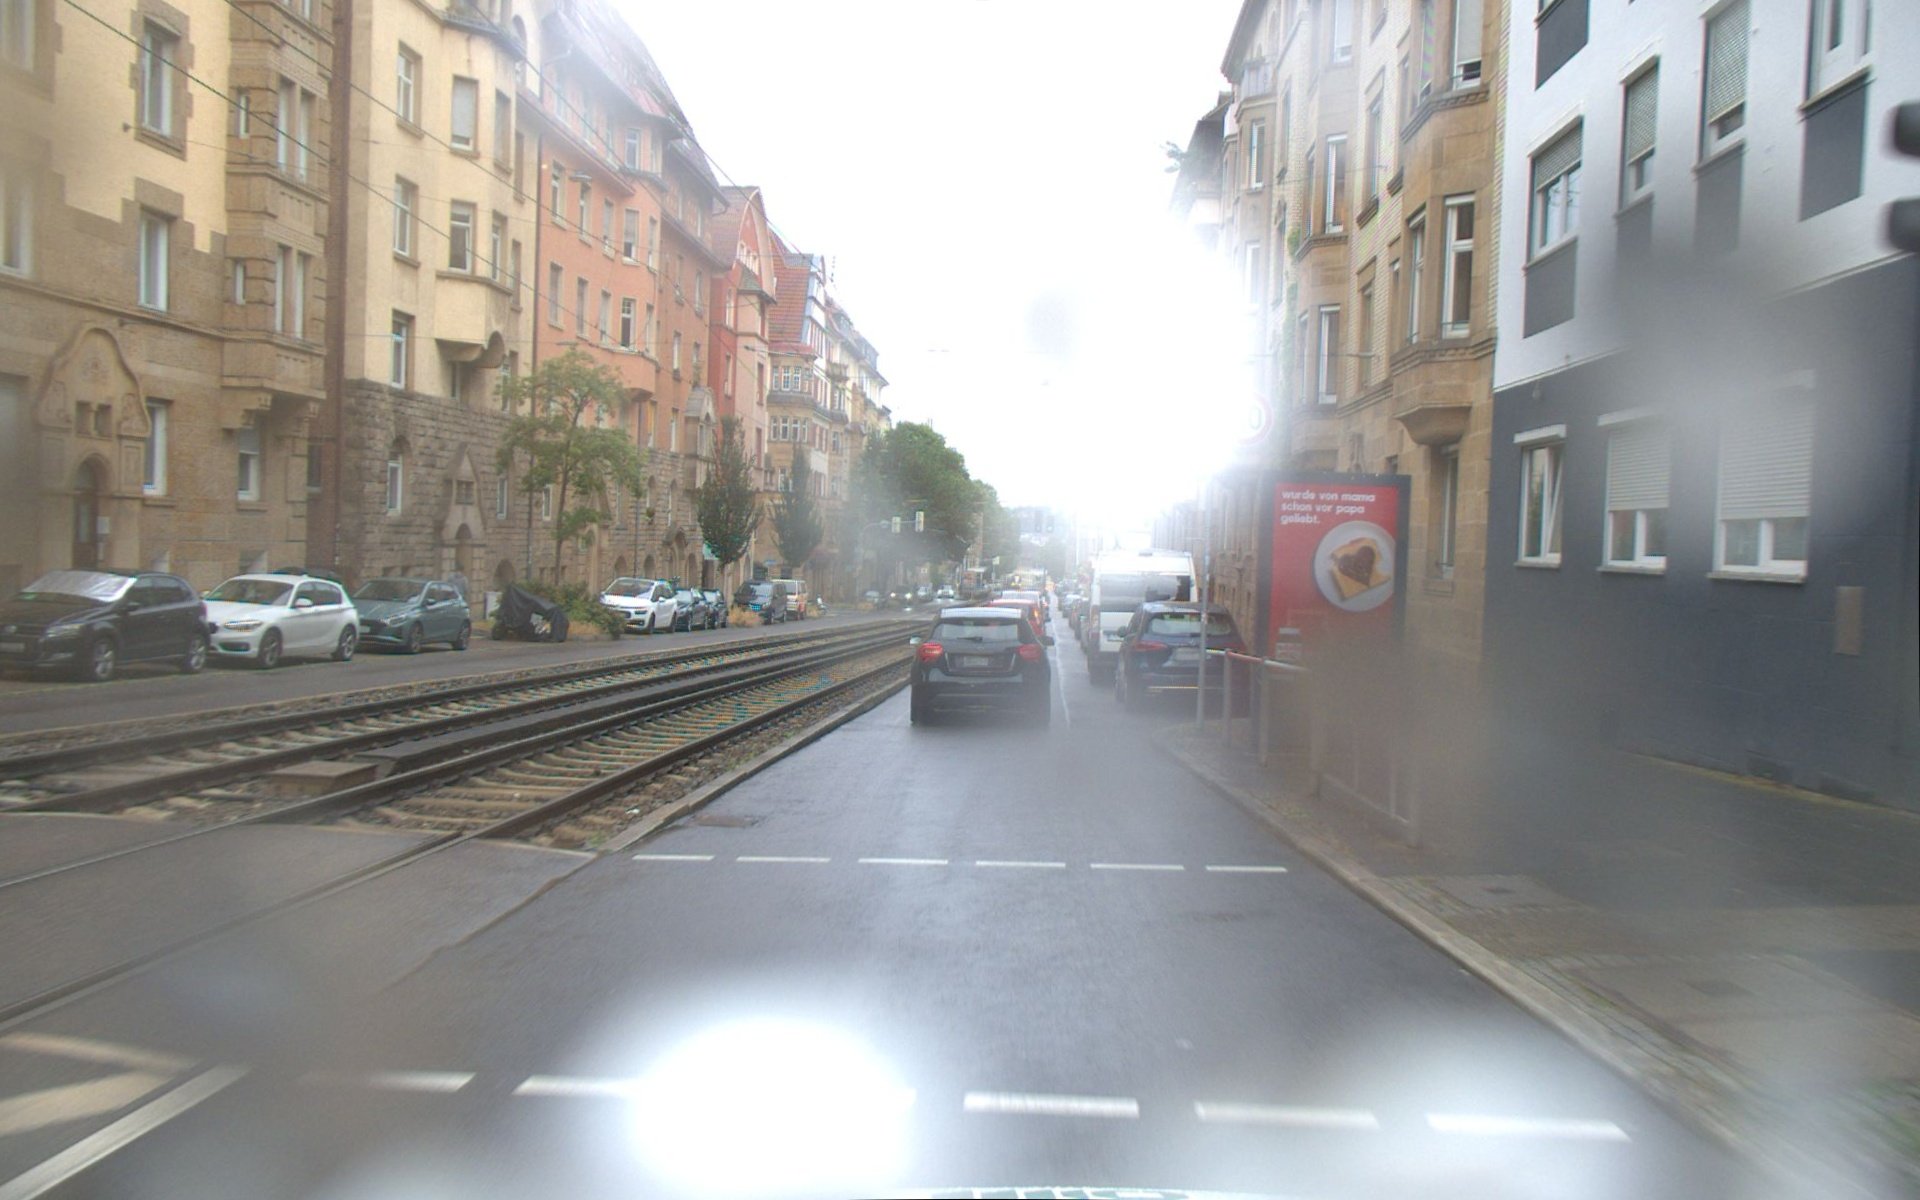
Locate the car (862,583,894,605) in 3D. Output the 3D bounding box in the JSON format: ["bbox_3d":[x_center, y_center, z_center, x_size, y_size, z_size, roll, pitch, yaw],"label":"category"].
[{"bbox_3d":[-6.268,-0.473,126.748,1.952,1.544,4.002,2,0,3],"label":"car"}]

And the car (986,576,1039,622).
[{"bbox_3d":[2.007,-0.042,64.293,1.882,1.684,4.000,2,1,0],"label":"car"}]

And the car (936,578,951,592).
[{"bbox_3d":[-2.023,-1.816,203.502,1.759,1.575,4.000,3,0,0],"label":"car"}]

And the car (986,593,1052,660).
[{"bbox_3d":[1.521,0.654,41.603,1.503,1.536,4.001,2,-1,4],"label":"car"}]

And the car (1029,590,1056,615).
[{"bbox_3d":[5.757,0.199,115.394,1.863,1.621,4.001,1,-1,3],"label":"car"}]

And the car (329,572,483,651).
[{"bbox_3d":[-11.172,0.207,33.656,1.528,1.463,4.147,2,1,3],"label":"car"}]

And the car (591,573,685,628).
[{"bbox_3d":[-10.114,-0.001,52.281,1.747,1.617,4.354,1,0,5],"label":"car"}]

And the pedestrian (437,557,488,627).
[{"bbox_3d":[-13.176,-0.214,43.826,0.986,1.784,0.925,3,0,3],"label":"pedestrian"}]

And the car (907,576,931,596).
[{"bbox_3d":[-4.079,-1.400,164.905,1.952,1.825,4.002,2,0,3],"label":"car"}]

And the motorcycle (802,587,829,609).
[{"bbox_3d":[-8.162,-0.109,93.203,1.411,1.154,0.618,2,0,33],"label":"motorcycle"}]

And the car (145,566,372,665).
[{"bbox_3d":[-11.526,0.236,27.497,1.632,1.451,4.265,2,0,5],"label":"car"}]

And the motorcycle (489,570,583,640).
[{"bbox_3d":[-10.695,0.130,41.824,2.221,1.671,1.288,2,0,-14],"label":"motorcycle"}]

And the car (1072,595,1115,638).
[{"bbox_3d":[5.572,0.664,68.587,1.674,1.657,4.003,2,0,5],"label":"car"}]

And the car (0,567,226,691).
[{"bbox_3d":[-11.912,0.363,22.594,1.728,1.512,4.002,2,0,4],"label":"car"}]

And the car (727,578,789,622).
[{"bbox_3d":[-9.107,-0.013,74.883,1.952,1.934,4.701,1,0,3],"label":"car"}]

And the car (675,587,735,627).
[{"bbox_3d":[-9.717,0.254,63.323,1.608,1.422,3.884,2,0,1],"label":"car"}]

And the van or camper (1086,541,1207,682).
[{"bbox_3d":[3.628,0.213,33.152,2.021,2.512,6.121,1,0,3],"label":"van or camper"}]

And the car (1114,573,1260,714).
[{"bbox_3d":[3.280,0.585,24.663,1.732,1.839,4.484,2,0,3],"label":"car"}]

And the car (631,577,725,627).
[{"bbox_3d":[-9.765,0.053,57.751,1.952,1.535,4.977,4,1,5],"label":"car"}]

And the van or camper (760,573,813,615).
[{"bbox_3d":[-8.637,-0.332,82.603,1.952,1.934,4.700,3,1,1],"label":"van or camper"}]

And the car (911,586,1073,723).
[{"bbox_3d":[0.451,0.660,21.633,1.905,1.592,3.643,1,0,2],"label":"car"}]
